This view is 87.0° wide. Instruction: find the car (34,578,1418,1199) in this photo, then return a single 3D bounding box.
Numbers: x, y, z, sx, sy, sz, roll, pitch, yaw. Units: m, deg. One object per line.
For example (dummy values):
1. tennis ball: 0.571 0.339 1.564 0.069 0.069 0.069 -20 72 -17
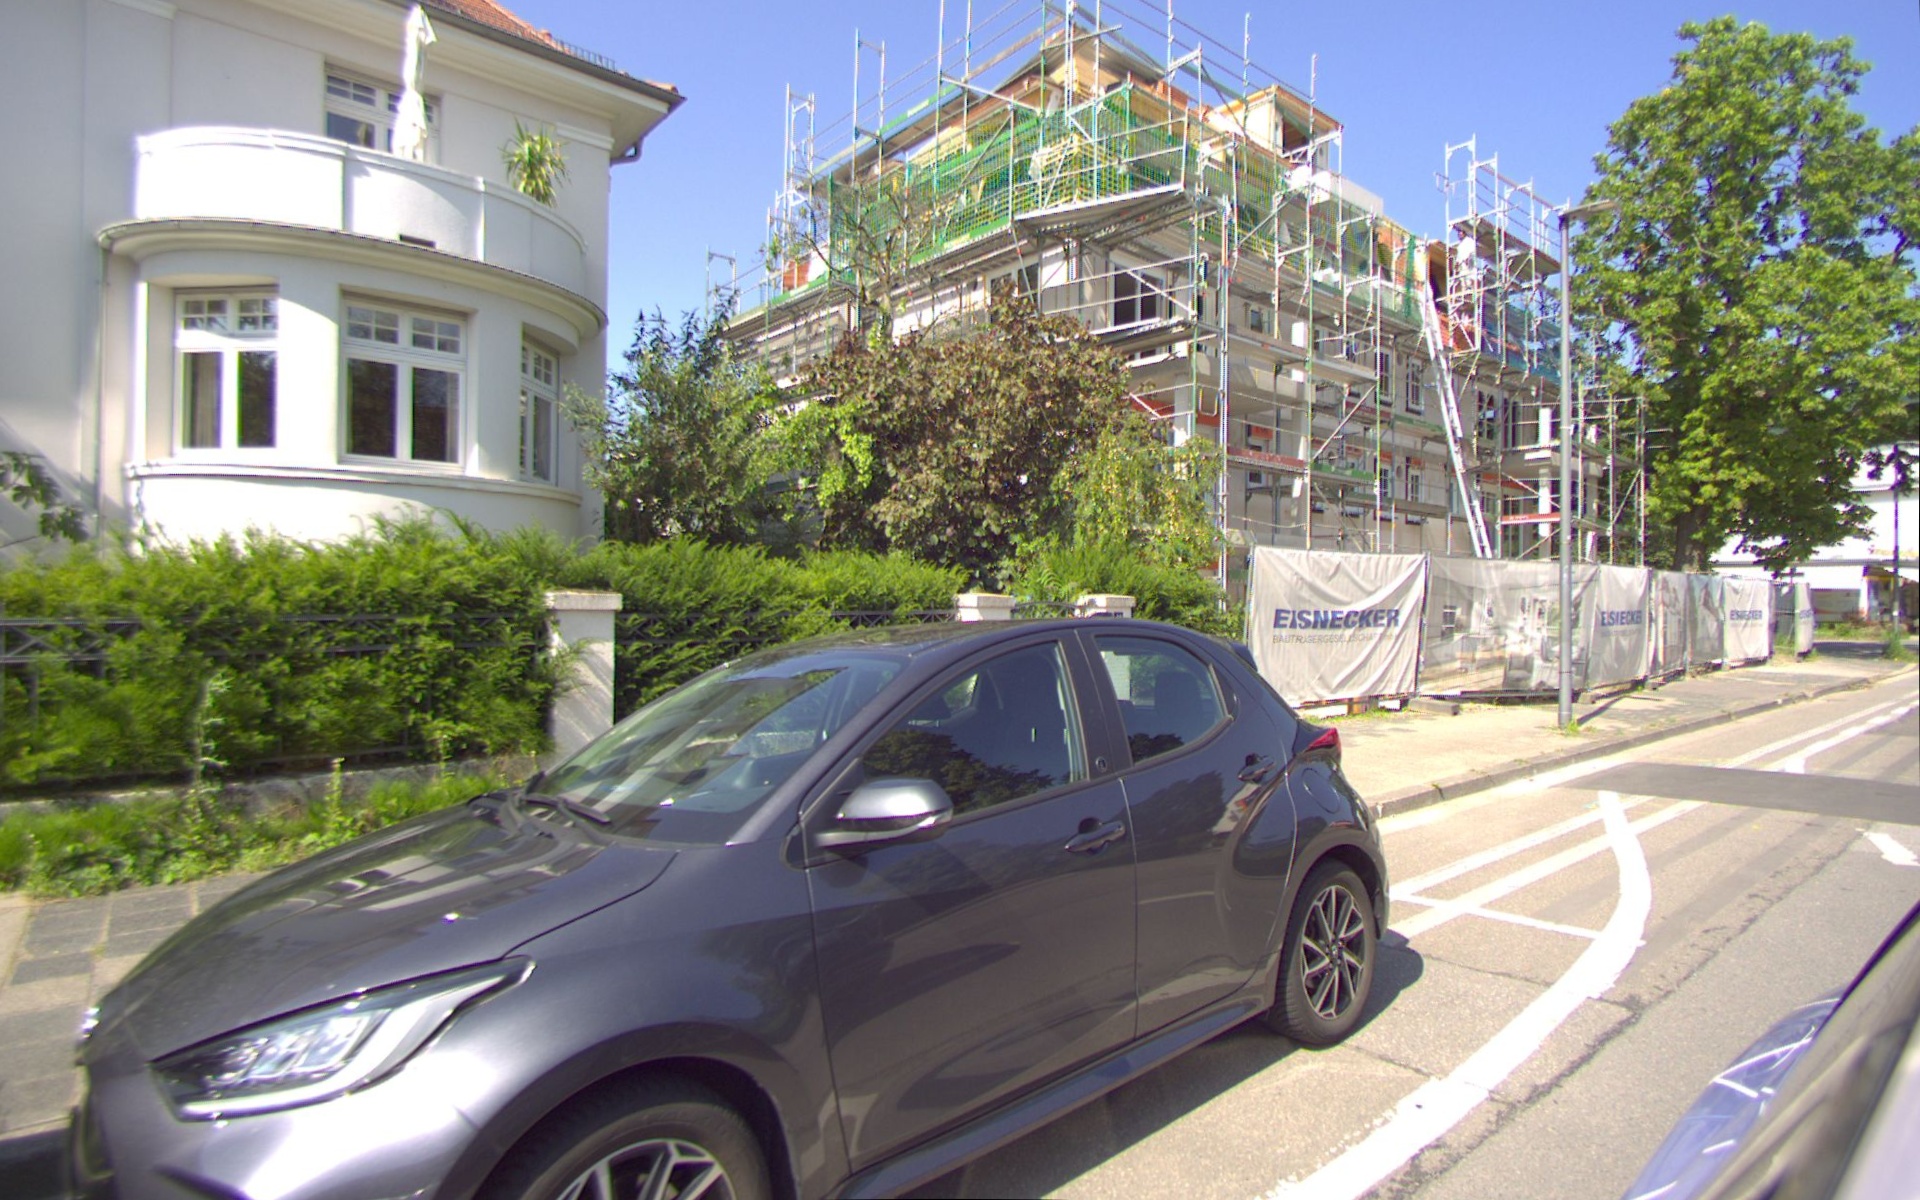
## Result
1. car: -0.293 0.751 3.129 3.720 1.495 1.660 0 -3 -41
